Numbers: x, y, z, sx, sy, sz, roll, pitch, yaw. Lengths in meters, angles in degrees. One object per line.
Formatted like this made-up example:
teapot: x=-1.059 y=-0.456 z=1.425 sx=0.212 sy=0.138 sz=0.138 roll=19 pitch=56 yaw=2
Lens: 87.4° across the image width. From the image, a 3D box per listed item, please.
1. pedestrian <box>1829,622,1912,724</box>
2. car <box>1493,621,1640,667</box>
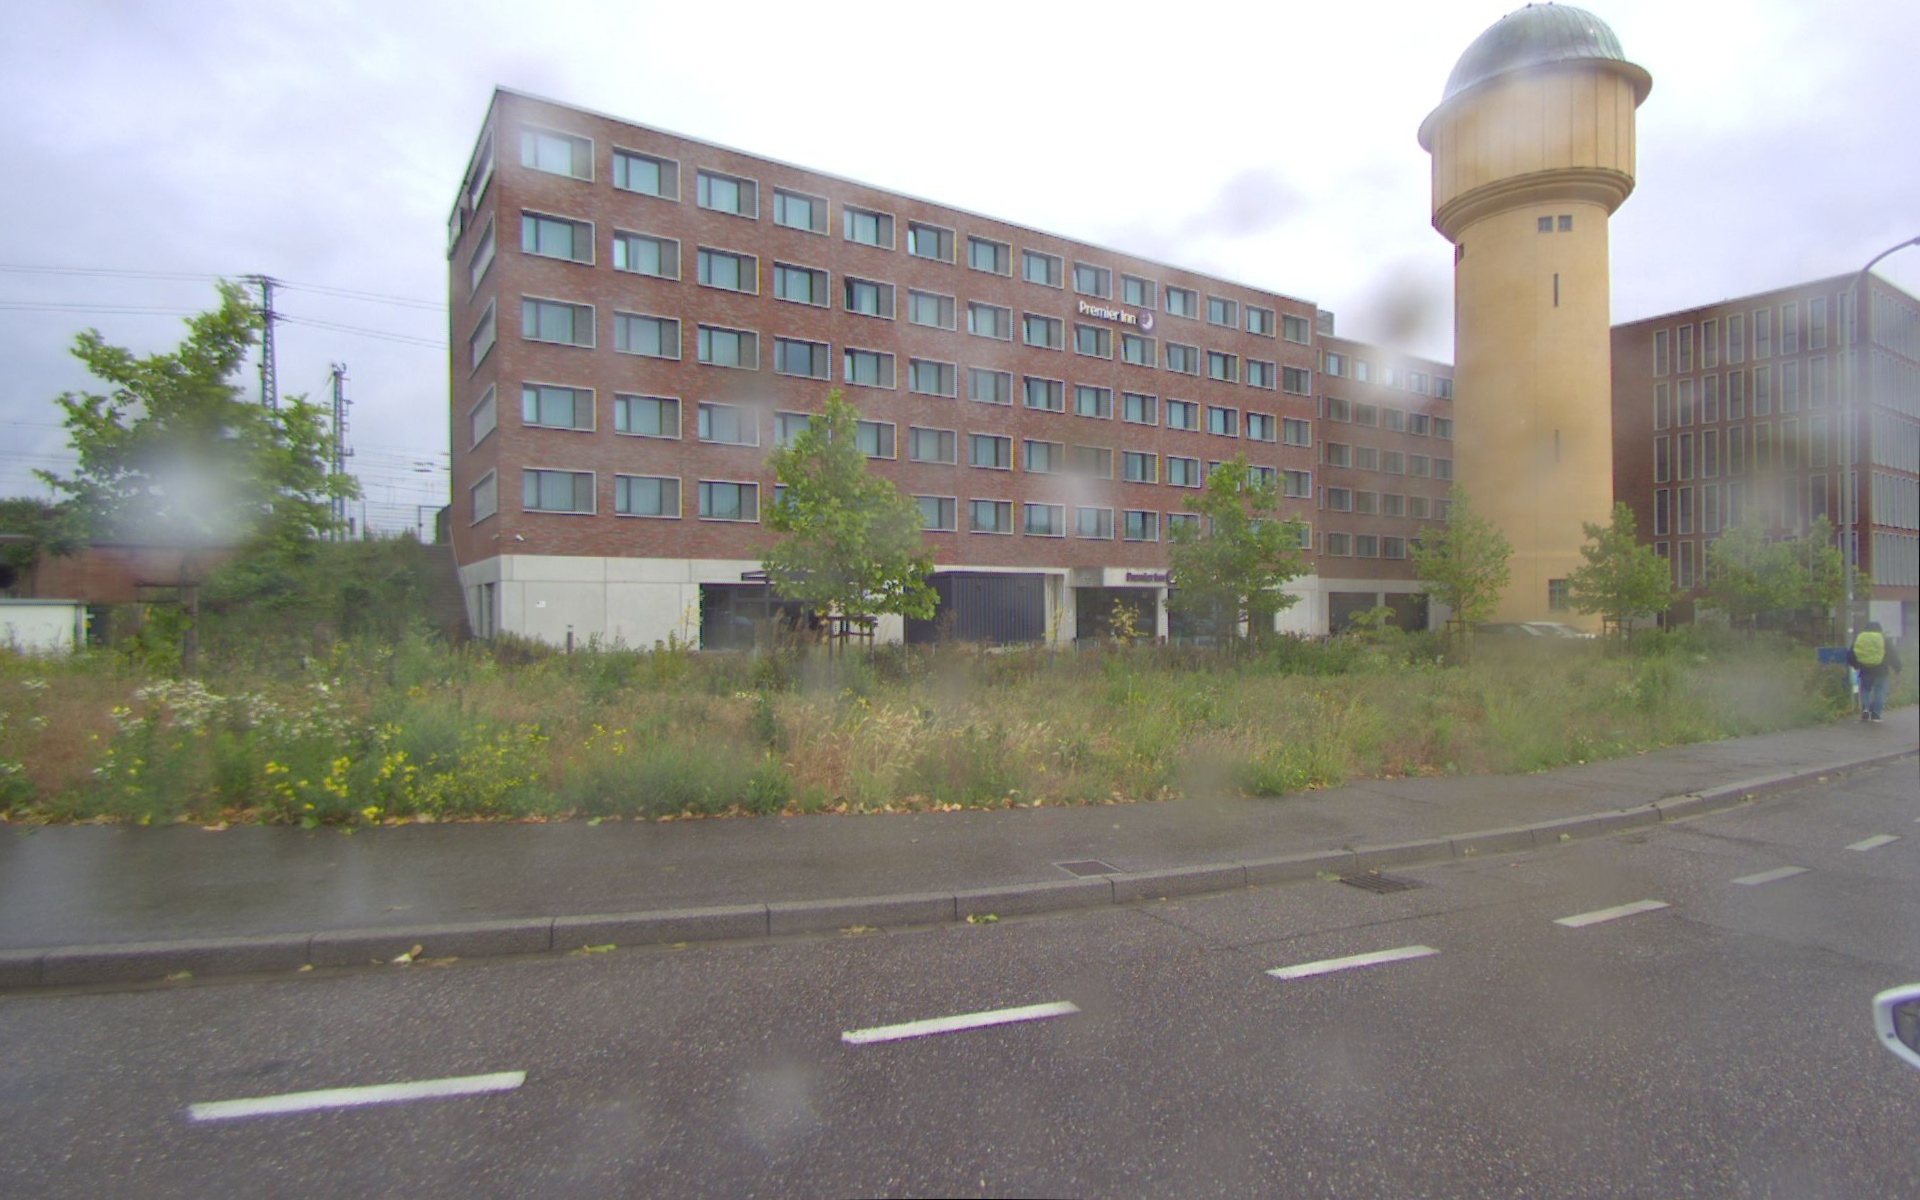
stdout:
pedestrian: x=16.118 y=1.259 z=17.779 sx=1.017 sy=1.741 sz=0.902 roll=1 pitch=-1 yaw=-36
car: x=23.341 y=1.659 z=38.774 sx=1.983 sy=1.663 sz=4.486 roll=1 pitch=-2 yaw=-38
